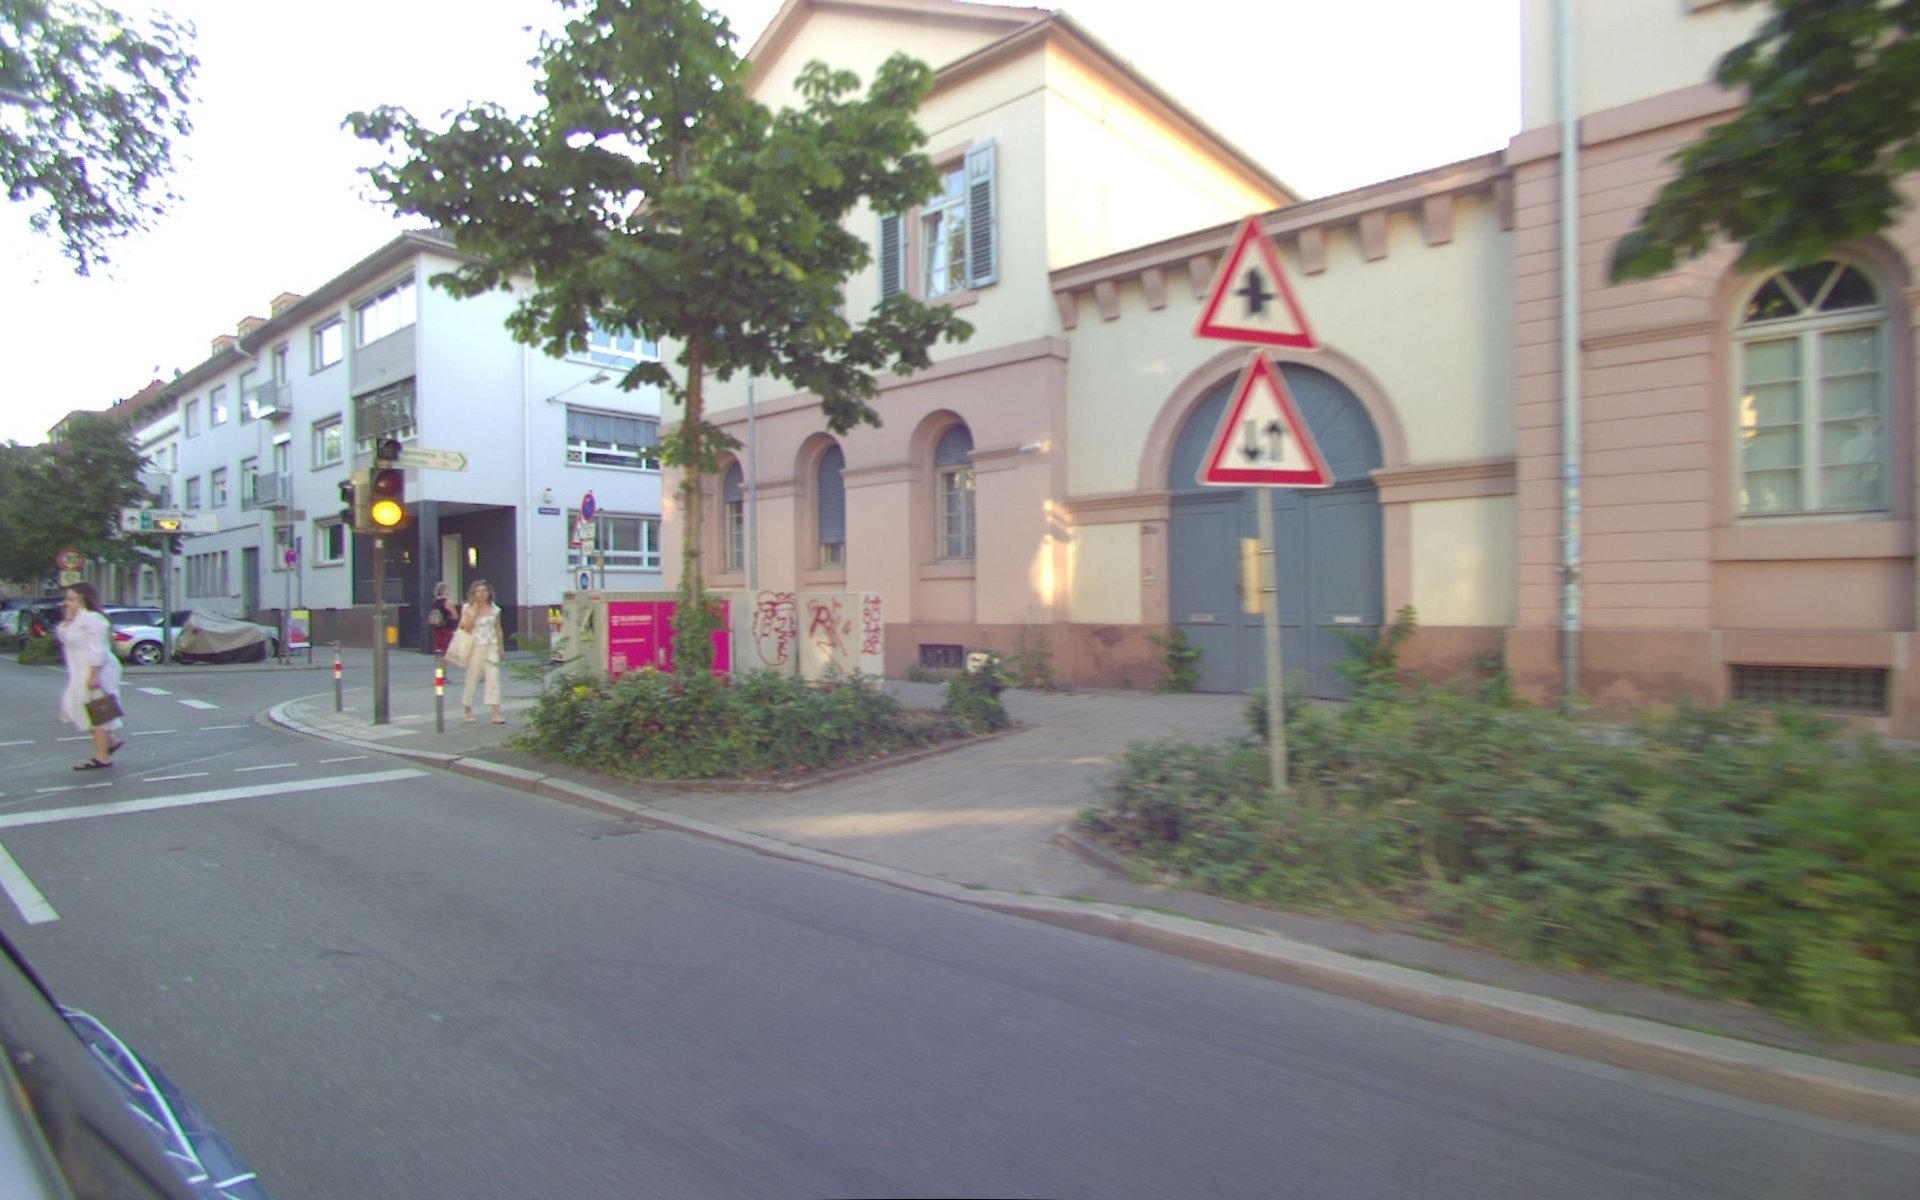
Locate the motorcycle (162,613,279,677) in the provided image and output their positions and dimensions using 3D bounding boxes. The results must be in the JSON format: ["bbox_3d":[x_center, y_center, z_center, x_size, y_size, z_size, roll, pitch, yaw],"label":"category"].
[{"bbox_3d":[-17.523,1.043,24.052,2.118,1.430,0.971,0,0,-28],"label":"motorcycle"}]

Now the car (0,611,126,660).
[{"bbox_3d":[-36.897,1.406,40.868,2.155,1.778,4.618,-1,1,40],"label":"car"}]

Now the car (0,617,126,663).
[{"bbox_3d":[-35.078,1.518,39.287,1.781,1.505,3.984,-1,2,44],"label":"car"}]

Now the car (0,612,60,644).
[{"bbox_3d":[-51.788,1.554,54.798,1.771,1.550,4.310,0,3,41],"label":"car"}]

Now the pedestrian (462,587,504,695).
[{"bbox_3d":[-8.379,0.703,17.781,0.546,1.864,0.613,-1,0,-35],"label":"pedestrian"}]

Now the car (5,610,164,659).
[{"bbox_3d":[-30.720,1.169,35.597,1.754,1.451,4.032,-1,1,42],"label":"car"}]

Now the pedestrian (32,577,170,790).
[{"bbox_3d":[-8.096,0.749,9.548,0.789,1.902,0.763,-1,-1,29],"label":"pedestrian"}]

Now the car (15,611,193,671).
[{"bbox_3d":[-26.809,1.234,31.786,1.935,1.644,4.050,-1,1,42],"label":"car"}]

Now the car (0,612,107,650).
[{"bbox_3d":[-38.727,1.309,42.783,1.854,1.462,3.806,-3,0,41],"label":"car"}]

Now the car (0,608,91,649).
[{"bbox_3d":[-42.253,1.295,45.838,1.823,1.603,4.112,-1,2,41],"label":"car"}]

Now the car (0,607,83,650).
[{"bbox_3d":[-46.483,1.409,49.664,2.189,2.006,4.938,-2,-1,41],"label":"car"}]

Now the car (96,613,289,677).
[{"bbox_3d":[-19.659,1.098,26.004,1.845,1.321,3.697,-1,2,45],"label":"car"}]

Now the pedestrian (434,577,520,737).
[{"bbox_3d":[-5.789,0.658,12.167,0.779,1.804,0.773,-4,1,-22],"label":"pedestrian"}]

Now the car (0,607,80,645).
[{"bbox_3d":[-44.515,1.276,47.701,1.929,1.584,4.310,-1,2,41],"label":"car"}]

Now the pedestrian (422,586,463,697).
[{"bbox_3d":[-8.910,0.699,17.430,0.546,1.864,0.613,0,0,-35],"label":"pedestrian"}]

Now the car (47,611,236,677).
[{"bbox_3d":[-22.091,1.136,27.418,1.734,1.469,3.704,-1,2,40],"label":"car"}]
